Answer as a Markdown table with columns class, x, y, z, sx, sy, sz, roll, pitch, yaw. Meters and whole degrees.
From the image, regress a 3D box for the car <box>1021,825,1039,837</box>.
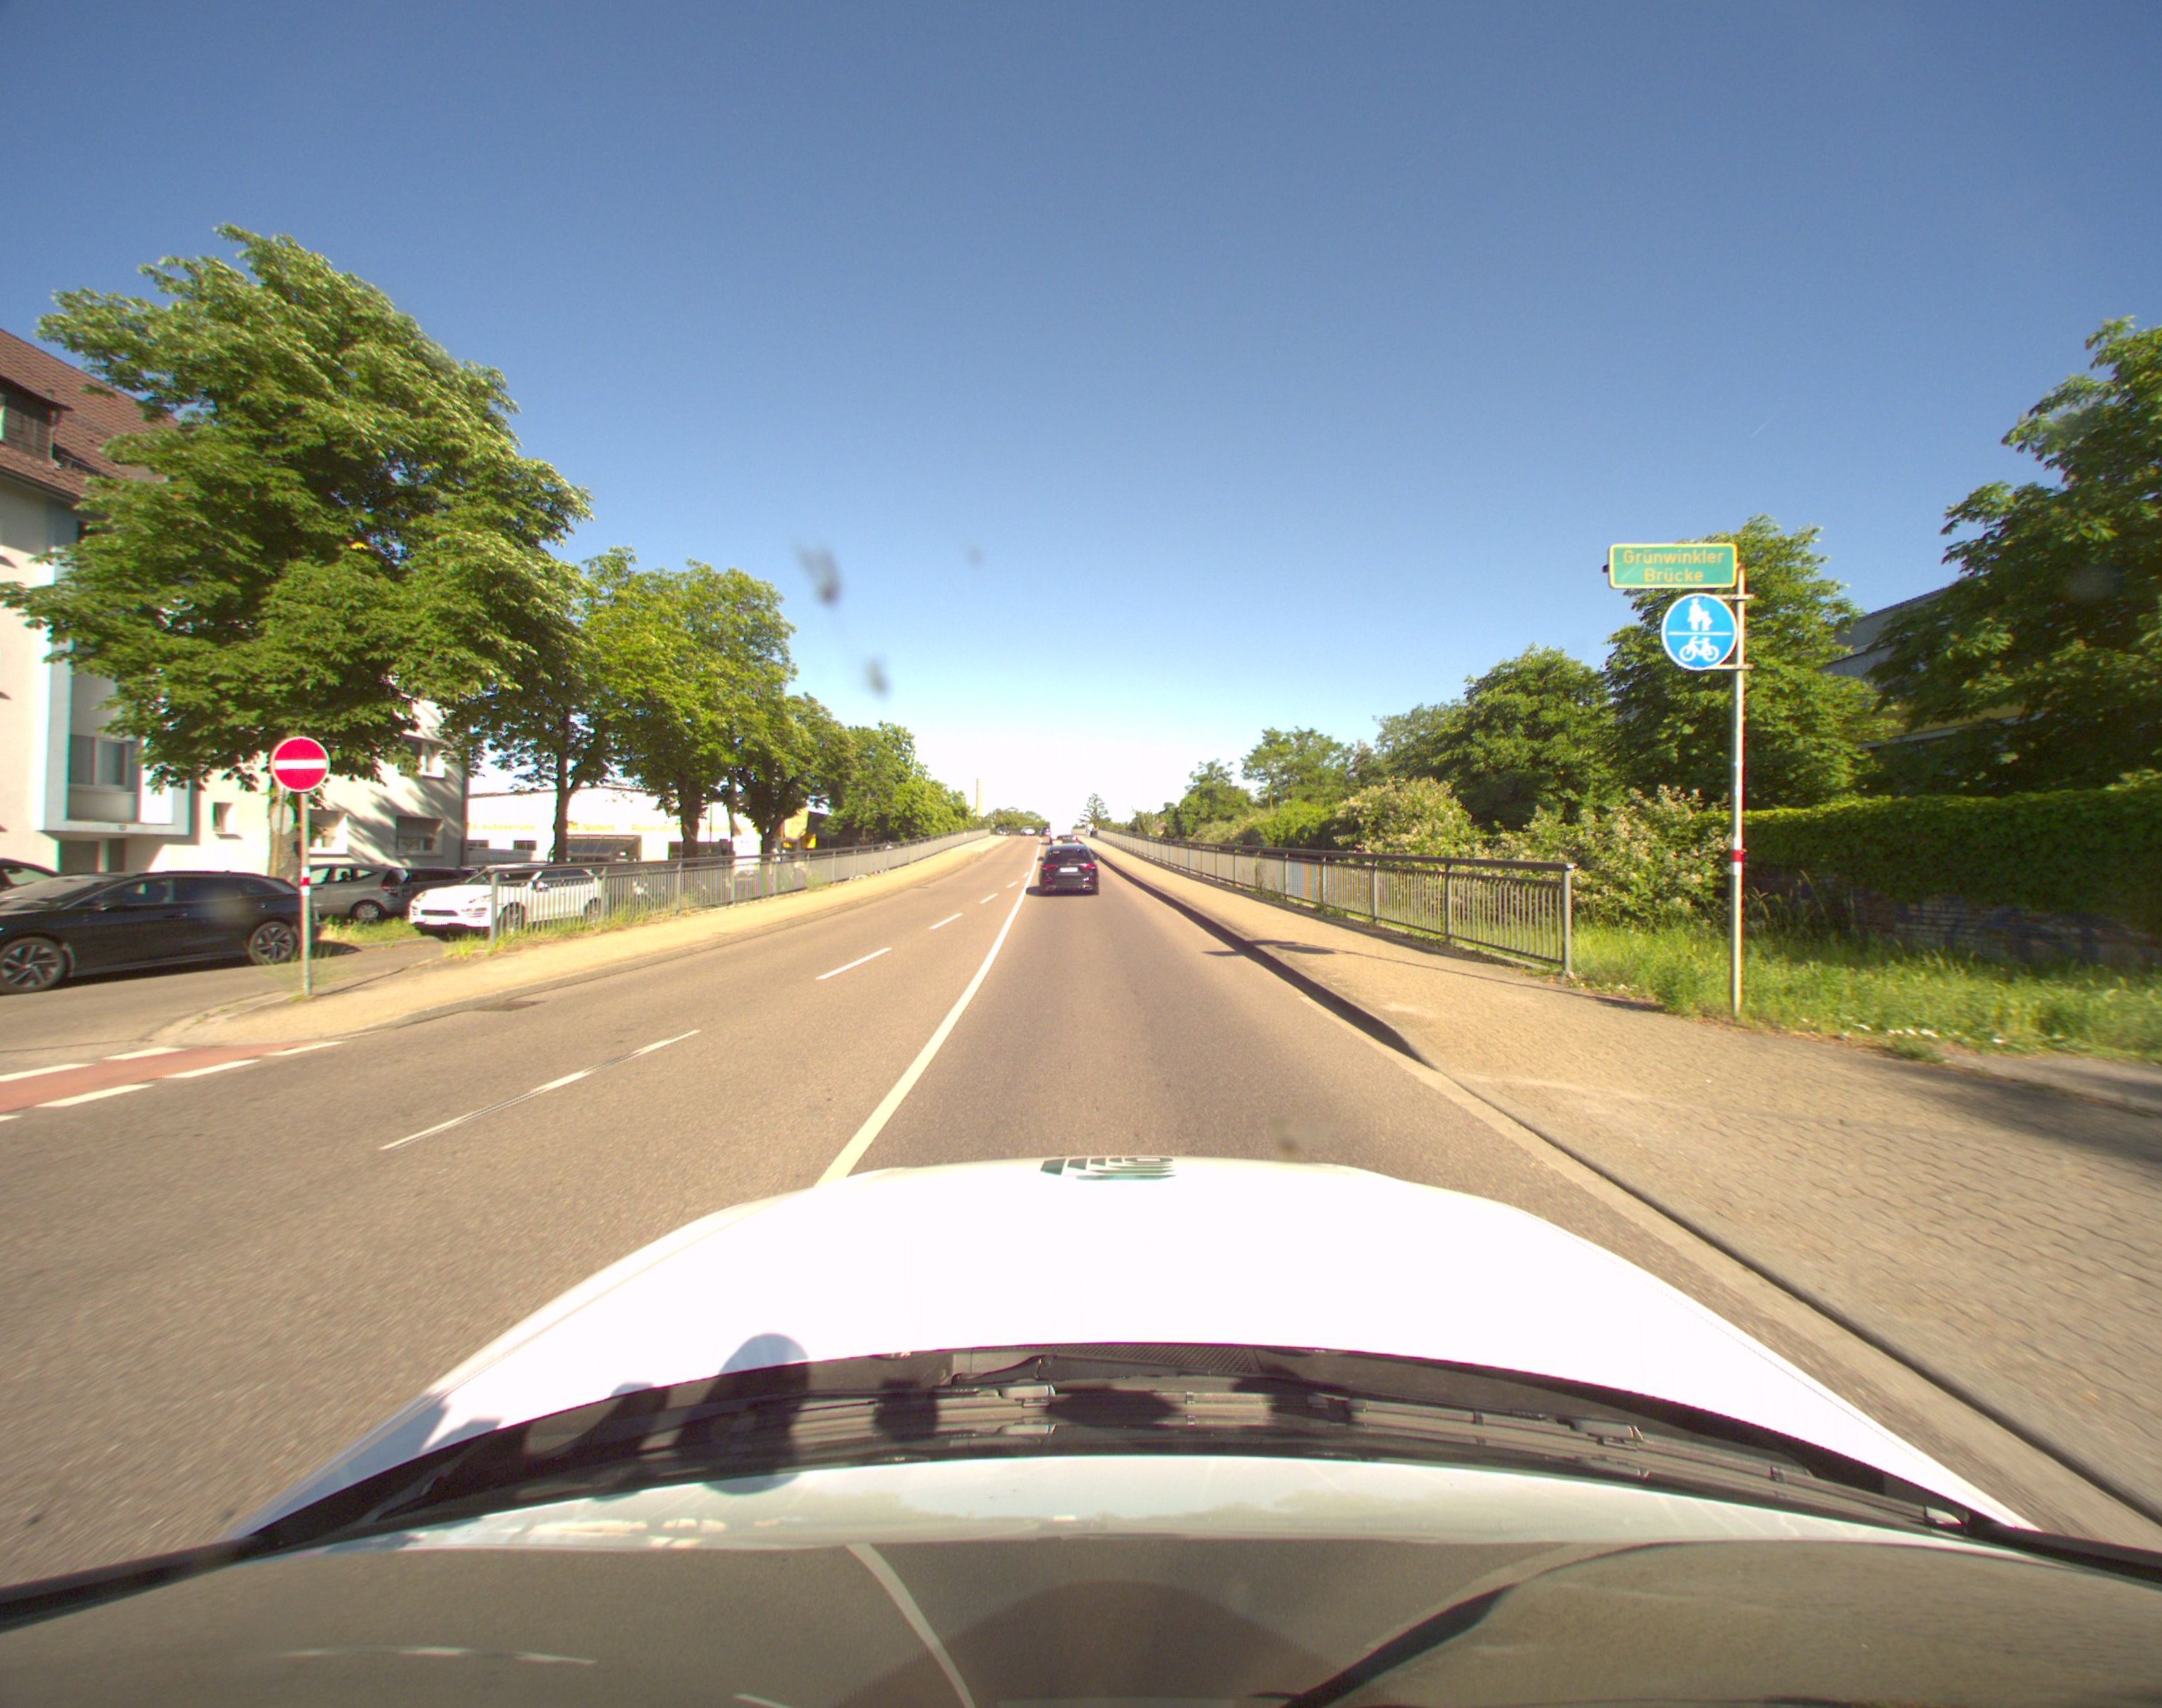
| class | x | y | z | sx | sy | sz | roll | pitch | yaw |
| --- | --- | --- | --- | --- | --- | --- | --- | --- | --- |
| car | -8.252 | -3.751 | 132.011 | 1.981 | 1.680 | 4.011 | -1 | -1 | 10 |

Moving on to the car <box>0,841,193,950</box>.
| class | x | y | z | sx | sy | sz | roll | pitch | yaw |
| --- | --- | --- | --- | --- | --- | --- | --- | --- | --- |
| car | -20.254 | 0.742 | 15.204 | 2.063 | 1.930 | 4.785 | 0 | -1 | -1 |

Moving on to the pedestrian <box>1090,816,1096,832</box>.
| class | x | y | z | sx | sy | sz | roll | pitch | yaw |
| --- | --- | --- | --- | --- | --- | --- | --- | --- | --- |
| pedestrian | 1.321 | -3.254 | 89.402 | 0.548 | 1.750 | 0.738 | 0 | 0 | -2 |

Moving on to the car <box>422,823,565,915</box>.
| class | x | y | z | sx | sy | sz | roll | pitch | yaw |
| --- | --- | --- | --- | --- | --- | --- | --- | --- | --- |
| car | -27.258 | 0.846 | 38.164 | 2.126 | 2.565 | 5.873 | 13 | -16 | -3 |

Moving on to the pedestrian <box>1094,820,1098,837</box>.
| class | x | y | z | sx | sy | sz | roll | pitch | yaw |
| --- | --- | --- | --- | --- | --- | --- | --- | --- | --- |
| pedestrian | 1.632 | -2.770 | 88.396 | 0.470 | 1.750 | 0.653 | 0 | 0 | -2 |

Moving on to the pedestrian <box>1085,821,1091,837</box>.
| class | x | y | z | sx | sy | sz | roll | pitch | yaw |
| --- | --- | --- | --- | --- | --- | --- | --- | --- | --- |
| pedestrian | 0.771 | -2.692 | 88.622 | 0.600 | 1.750 | 0.716 | 0 | 0 | -3 |

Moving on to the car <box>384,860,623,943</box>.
| class | x | y | z | sx | sy | sz | roll | pitch | yaw |
| --- | --- | --- | --- | --- | --- | --- | --- | --- | --- |
| car | -13.689 | 1.016 | 19.844 | 2.031 | 1.729 | 5.235 | 1 | 0 | 0 |

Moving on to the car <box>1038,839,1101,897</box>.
| class | x | y | z | sx | sy | sz | roll | pitch | yaw |
| --- | --- | --- | --- | --- | --- | --- | --- | --- | --- |
| car | -0.324 | 0.362 | 25.415 | 1.764 | 1.592 | 3.989 | -1 | 1 | 0 |

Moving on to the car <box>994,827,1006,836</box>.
| class | x | y | z | sx | sy | sz | roll | pitch | yaw |
| --- | --- | --- | --- | --- | --- | --- | --- | --- | --- |
| car | -13.065 | -3.658 | 131.720 | 1.766 | 1.474 | 3.986 | -2 | 2 | -3 |

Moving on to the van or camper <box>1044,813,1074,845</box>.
| class | x | y | z | sx | sy | sz | roll | pitch | yaw |
| --- | --- | --- | --- | --- | --- | --- | --- | --- | --- |
| van or camper | -2.097 | -2.205 | 75.079 | 2.223 | 2.739 | 7.066 | 0 | 0 | -5 |

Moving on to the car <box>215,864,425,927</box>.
| class | x | y | z | sx | sy | sz | roll | pitch | yaw |
| --- | --- | --- | --- | --- | --- | --- | --- | --- | --- |
| car | -19.850 | 1.026 | 21.469 | 3.678 | 1.510 | 1.769 | 0 | 0 | -27 |

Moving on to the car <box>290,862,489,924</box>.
| class | x | y | z | sx | sy | sz | roll | pitch | yaw |
| --- | --- | --- | --- | --- | --- | --- | --- | --- | --- |
| car | -20.295 | 1.099 | 24.145 | 4.003 | 1.598 | 1.986 | -1 | 1 | -22 |

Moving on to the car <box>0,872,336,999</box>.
| class | x | y | z | sx | sy | sz | roll | pitch | yaw |
| --- | --- | --- | --- | --- | --- | --- | --- | --- | --- |
| car | -14.142 | 1.041 | 11.865 | 2.032 | 1.464 | 4.959 | 0 | 0 | -1 |

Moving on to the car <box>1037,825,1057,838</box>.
| class | x | y | z | sx | sy | sz | roll | pitch | yaw |
| --- | --- | --- | --- | --- | --- | --- | --- | --- | --- |
| car | -4.785 | -3.135 | 114.035 | 1.907 | 1.488 | 4.280 | -1 | -1 | 9 |

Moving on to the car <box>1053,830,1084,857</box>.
| class | x | y | z | sx | sy | sz | roll | pitch | yaw |
| --- | --- | --- | --- | --- | --- | --- | --- | --- | --- |
| car | -0.759 | -0.645 | 50.937 | 1.798 | 1.640 | 4.000 | 0 | 0 | 1 |

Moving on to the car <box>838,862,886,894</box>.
| class | x | y | z | sx | sy | sz | roll | pitch | yaw |
| --- | --- | --- | --- | --- | --- | --- | --- | --- | --- |
| car | -14.828 | 1.601 | 55.407 | 1.915 | 1.991 | 4.260 | 0 | 0 | 3 |
